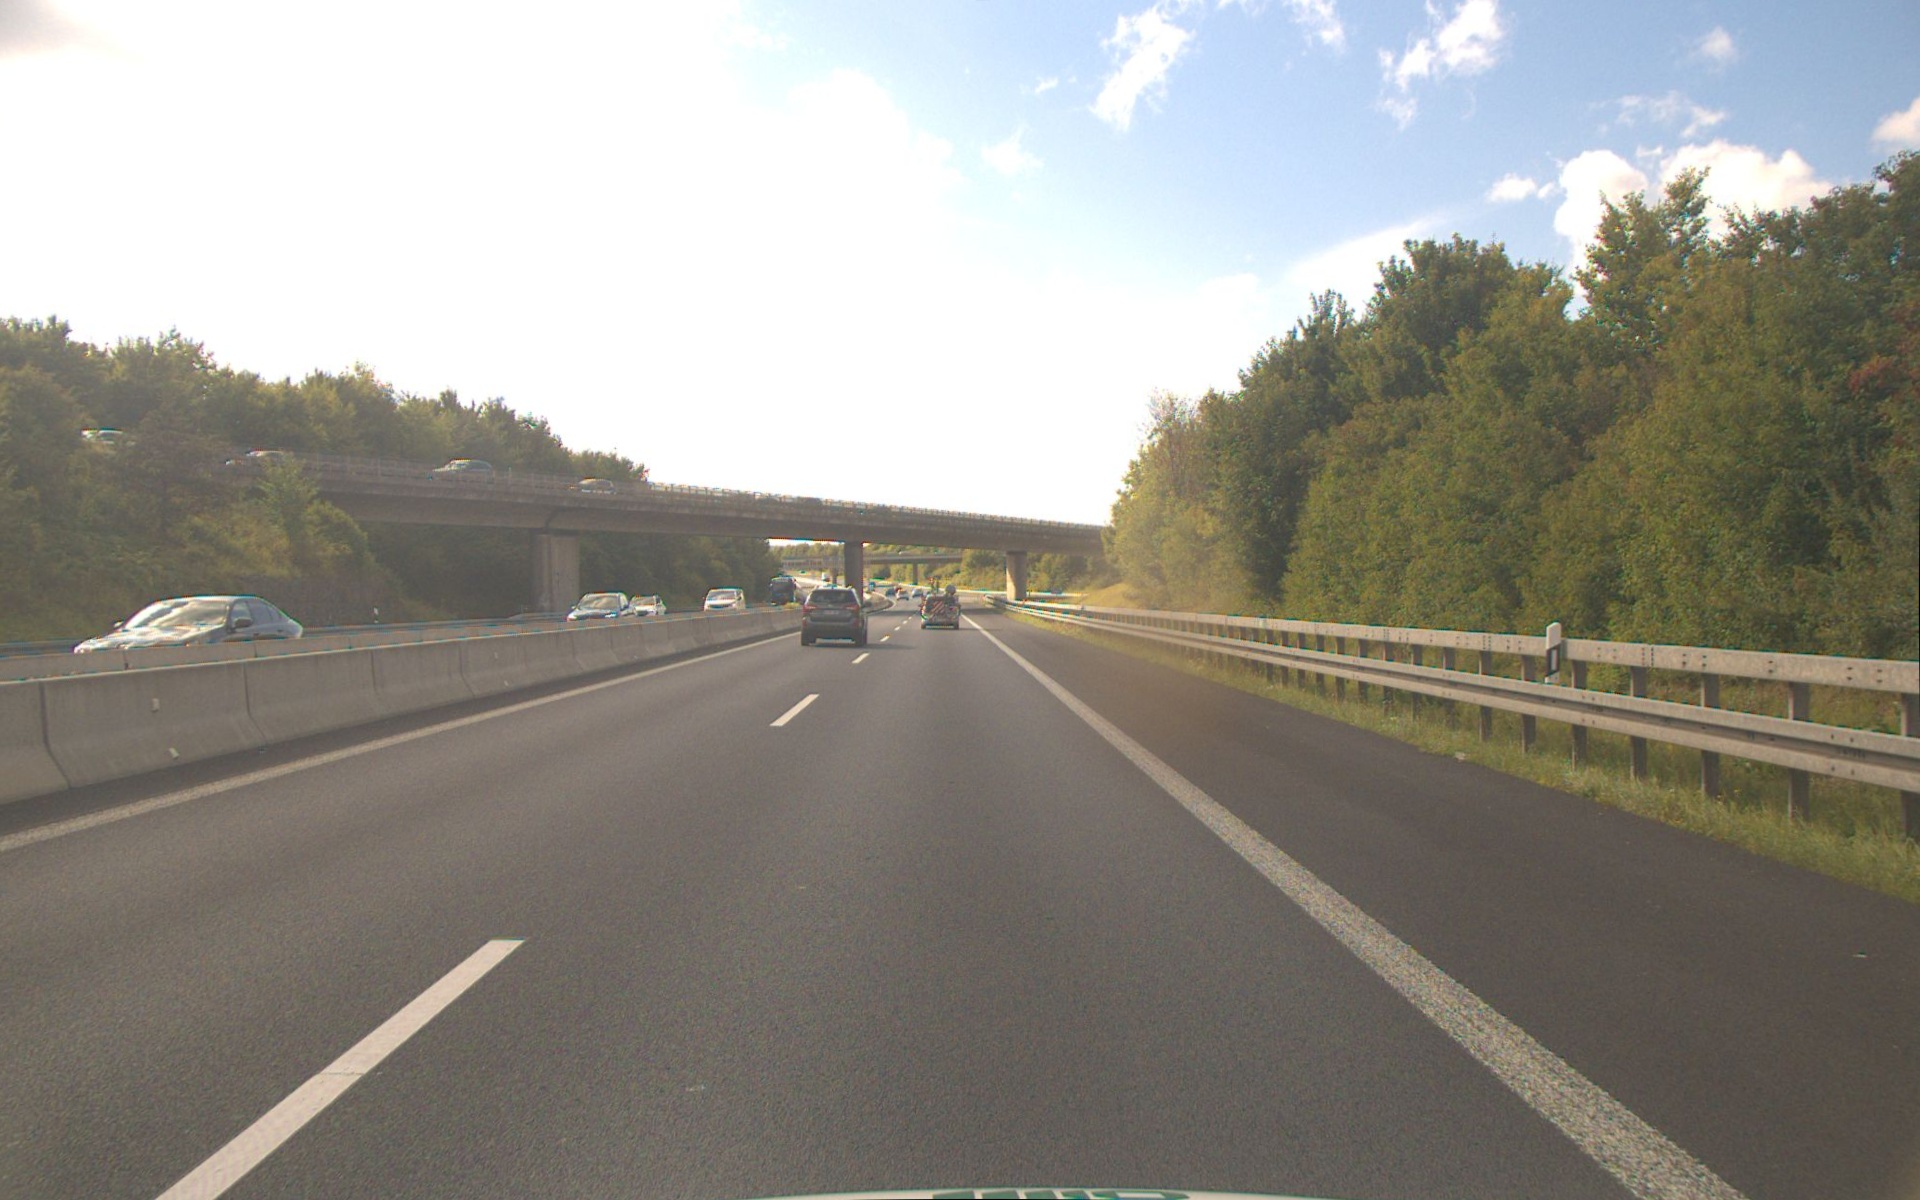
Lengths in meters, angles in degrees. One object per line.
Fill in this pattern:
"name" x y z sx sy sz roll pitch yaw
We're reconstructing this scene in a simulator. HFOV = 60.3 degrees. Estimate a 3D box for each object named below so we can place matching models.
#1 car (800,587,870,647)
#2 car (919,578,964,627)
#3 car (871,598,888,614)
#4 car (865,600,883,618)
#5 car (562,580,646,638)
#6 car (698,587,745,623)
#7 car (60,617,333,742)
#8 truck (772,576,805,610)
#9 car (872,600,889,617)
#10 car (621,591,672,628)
"car" -3.677 0.485 49.250 1.714 1.659 3.609 -2 0 1
"car" -0.832 0.107 75.978 1.953 2.117 4.000 -2 0 -1
"car" -10.497 0.767 215.470 1.953 2.049 3.999 -2 0 -1
"car" -10.086 1.065 194.907 1.953 2.049 3.999 -2 0 -1
"car" -12.747 0.314 59.498 1.953 1.929 5.139 -2 0 -1
"car" -13.478 0.272 93.605 1.953 1.929 5.188 -2 0 -1
"car" -11.888 1.159 26.212 1.953 1.677 5.194 -2 0 -1
"truck" -18.227 -0.740 176.410 2.621 3.506 9.826 -2 0 -1
"car" -9.807 1.037 204.638 1.953 2.049 3.999 -2 0 -1
"car" -17.543 0.521 92.828 1.953 1.929 4.821 -2 0 -1
